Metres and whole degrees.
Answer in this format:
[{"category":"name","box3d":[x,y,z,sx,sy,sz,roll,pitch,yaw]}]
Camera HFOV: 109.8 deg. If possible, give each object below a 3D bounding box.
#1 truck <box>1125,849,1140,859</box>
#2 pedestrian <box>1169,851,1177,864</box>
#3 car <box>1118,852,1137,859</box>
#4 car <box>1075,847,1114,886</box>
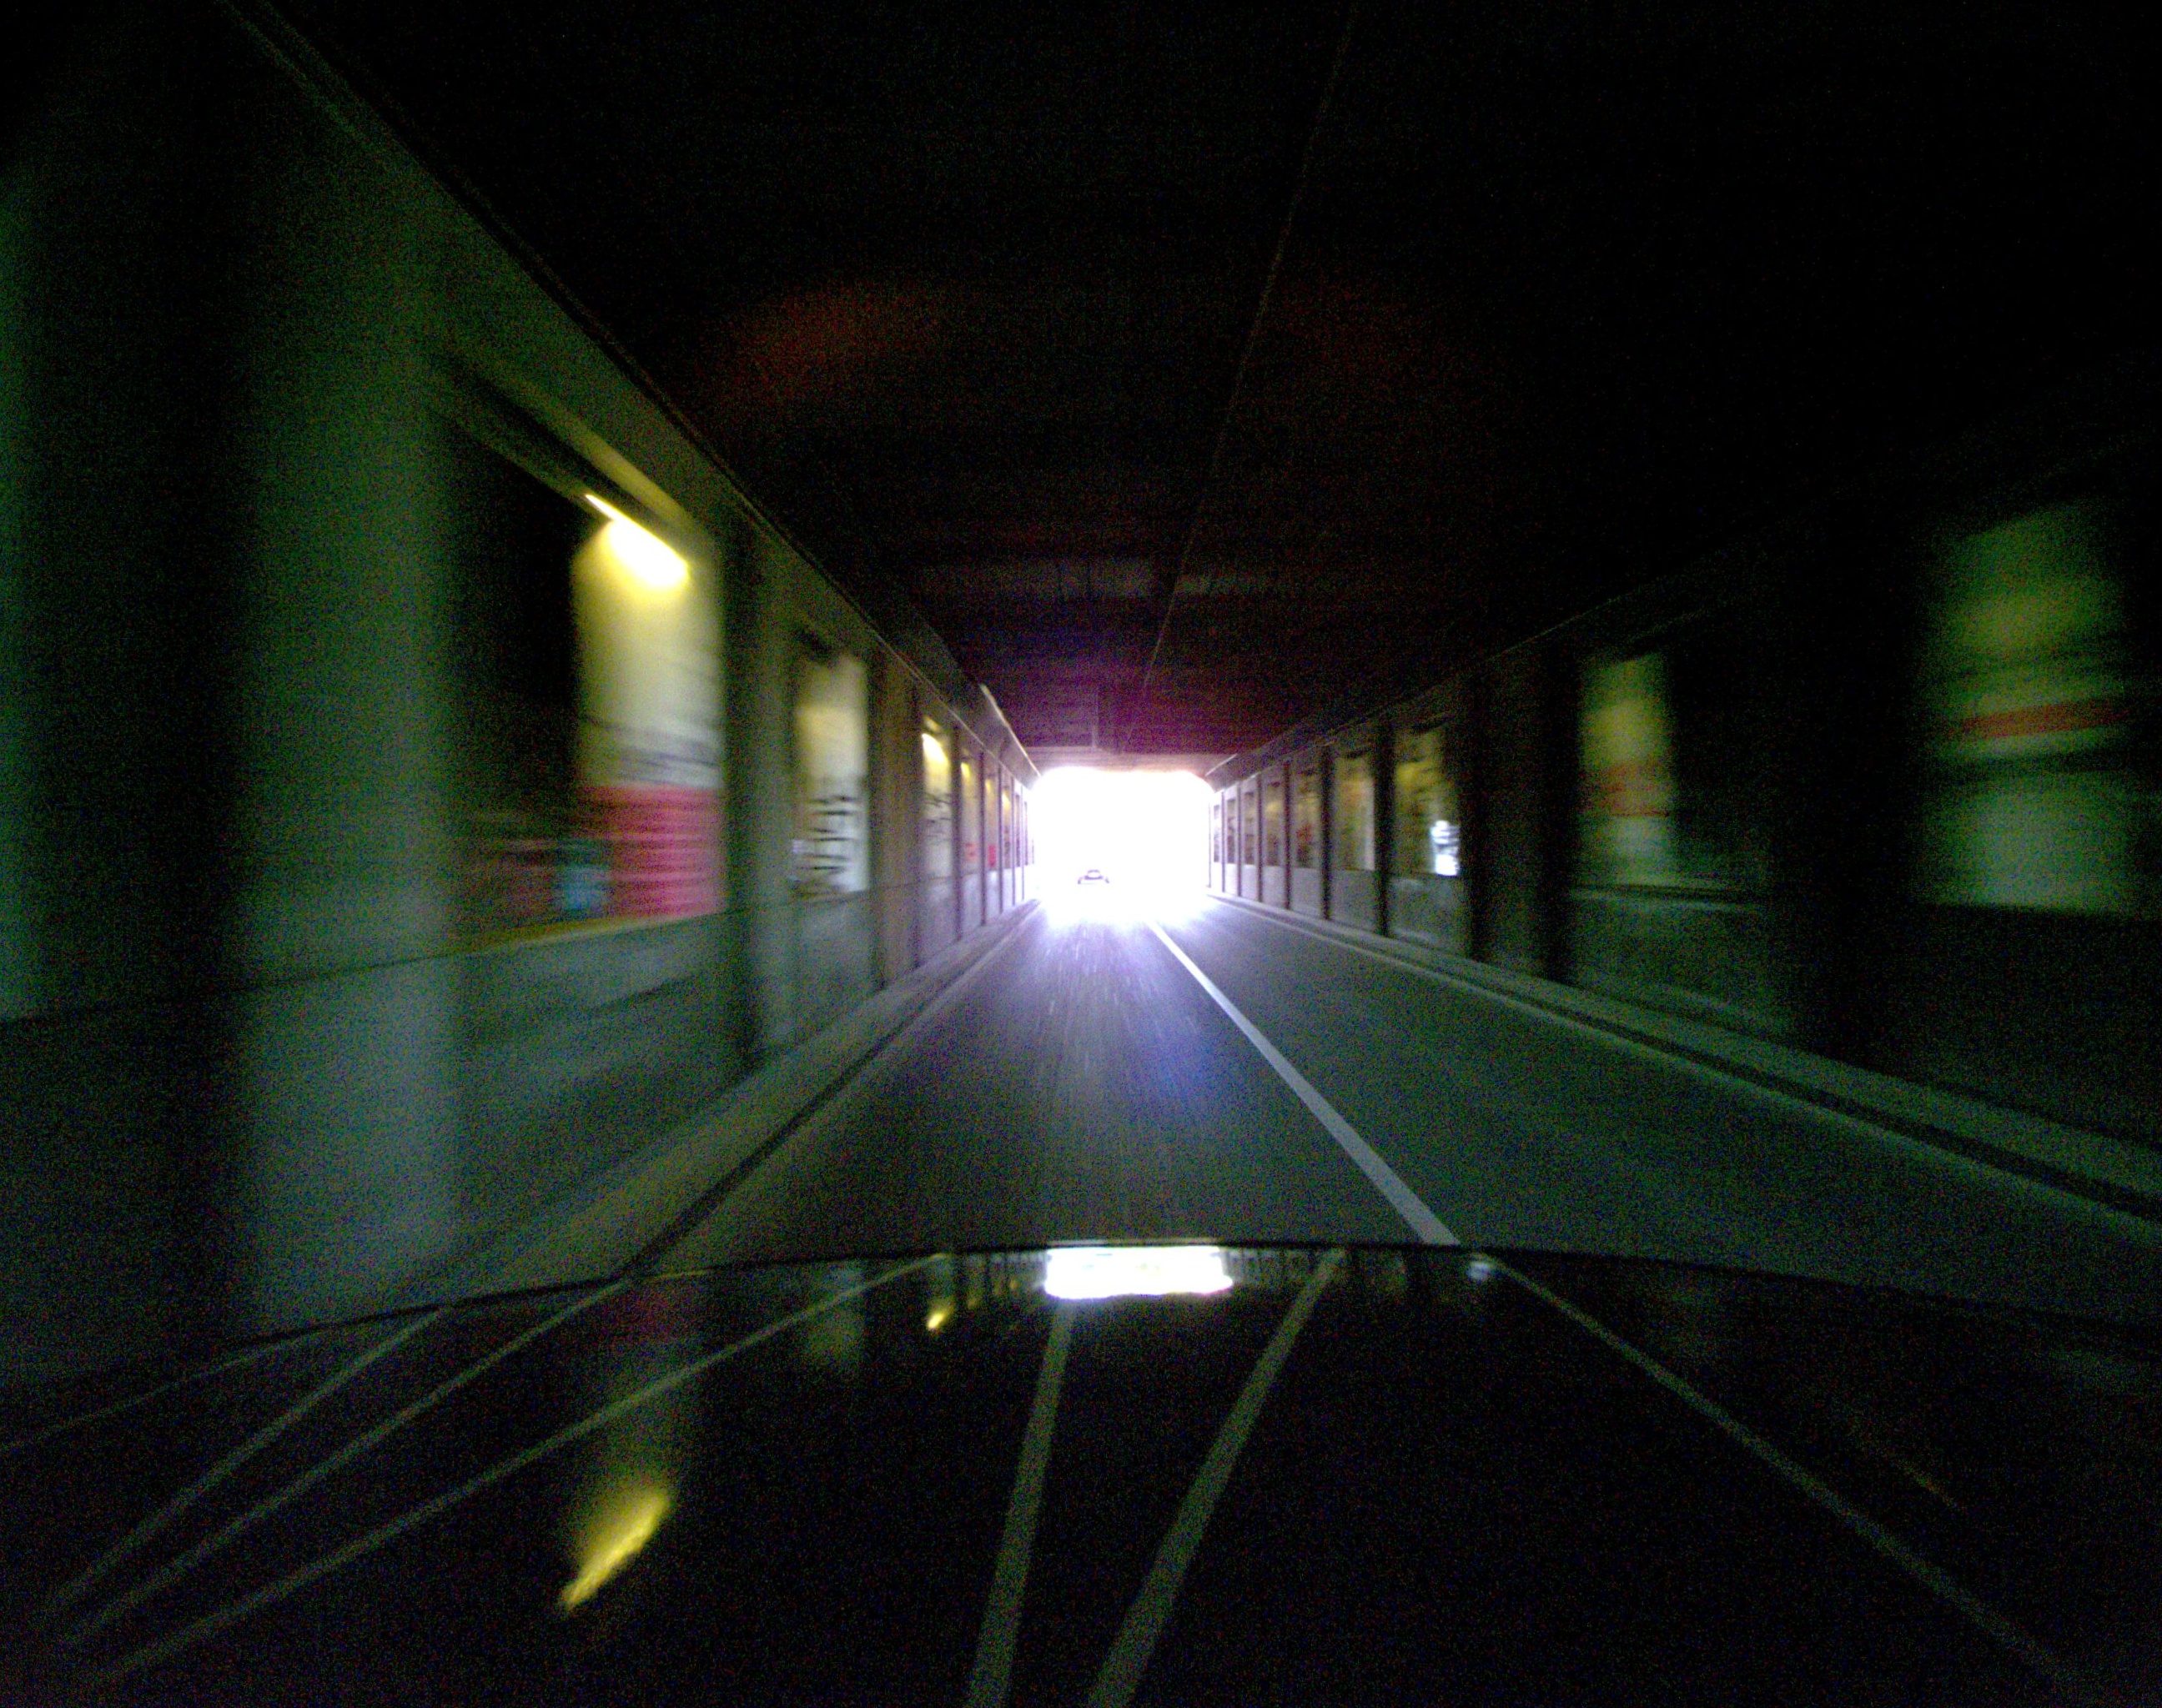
[{"category":"truck","box3d":[16.412,0.054,241.707,2.339,2.955,8.041,-2,1,19]},{"category":"pedestrian","box3d":[11.831,0.478,97.637,0.834,1.620,1.181,-2,0,3]},{"category":"car","box3d":[11.429,0.433,187.082,4.140,1.631,1.777,-2,2,22]},{"category":"car","box3d":[0.700,0.639,42.418,1.941,1.923,4.522,-3,1,-1]}]
